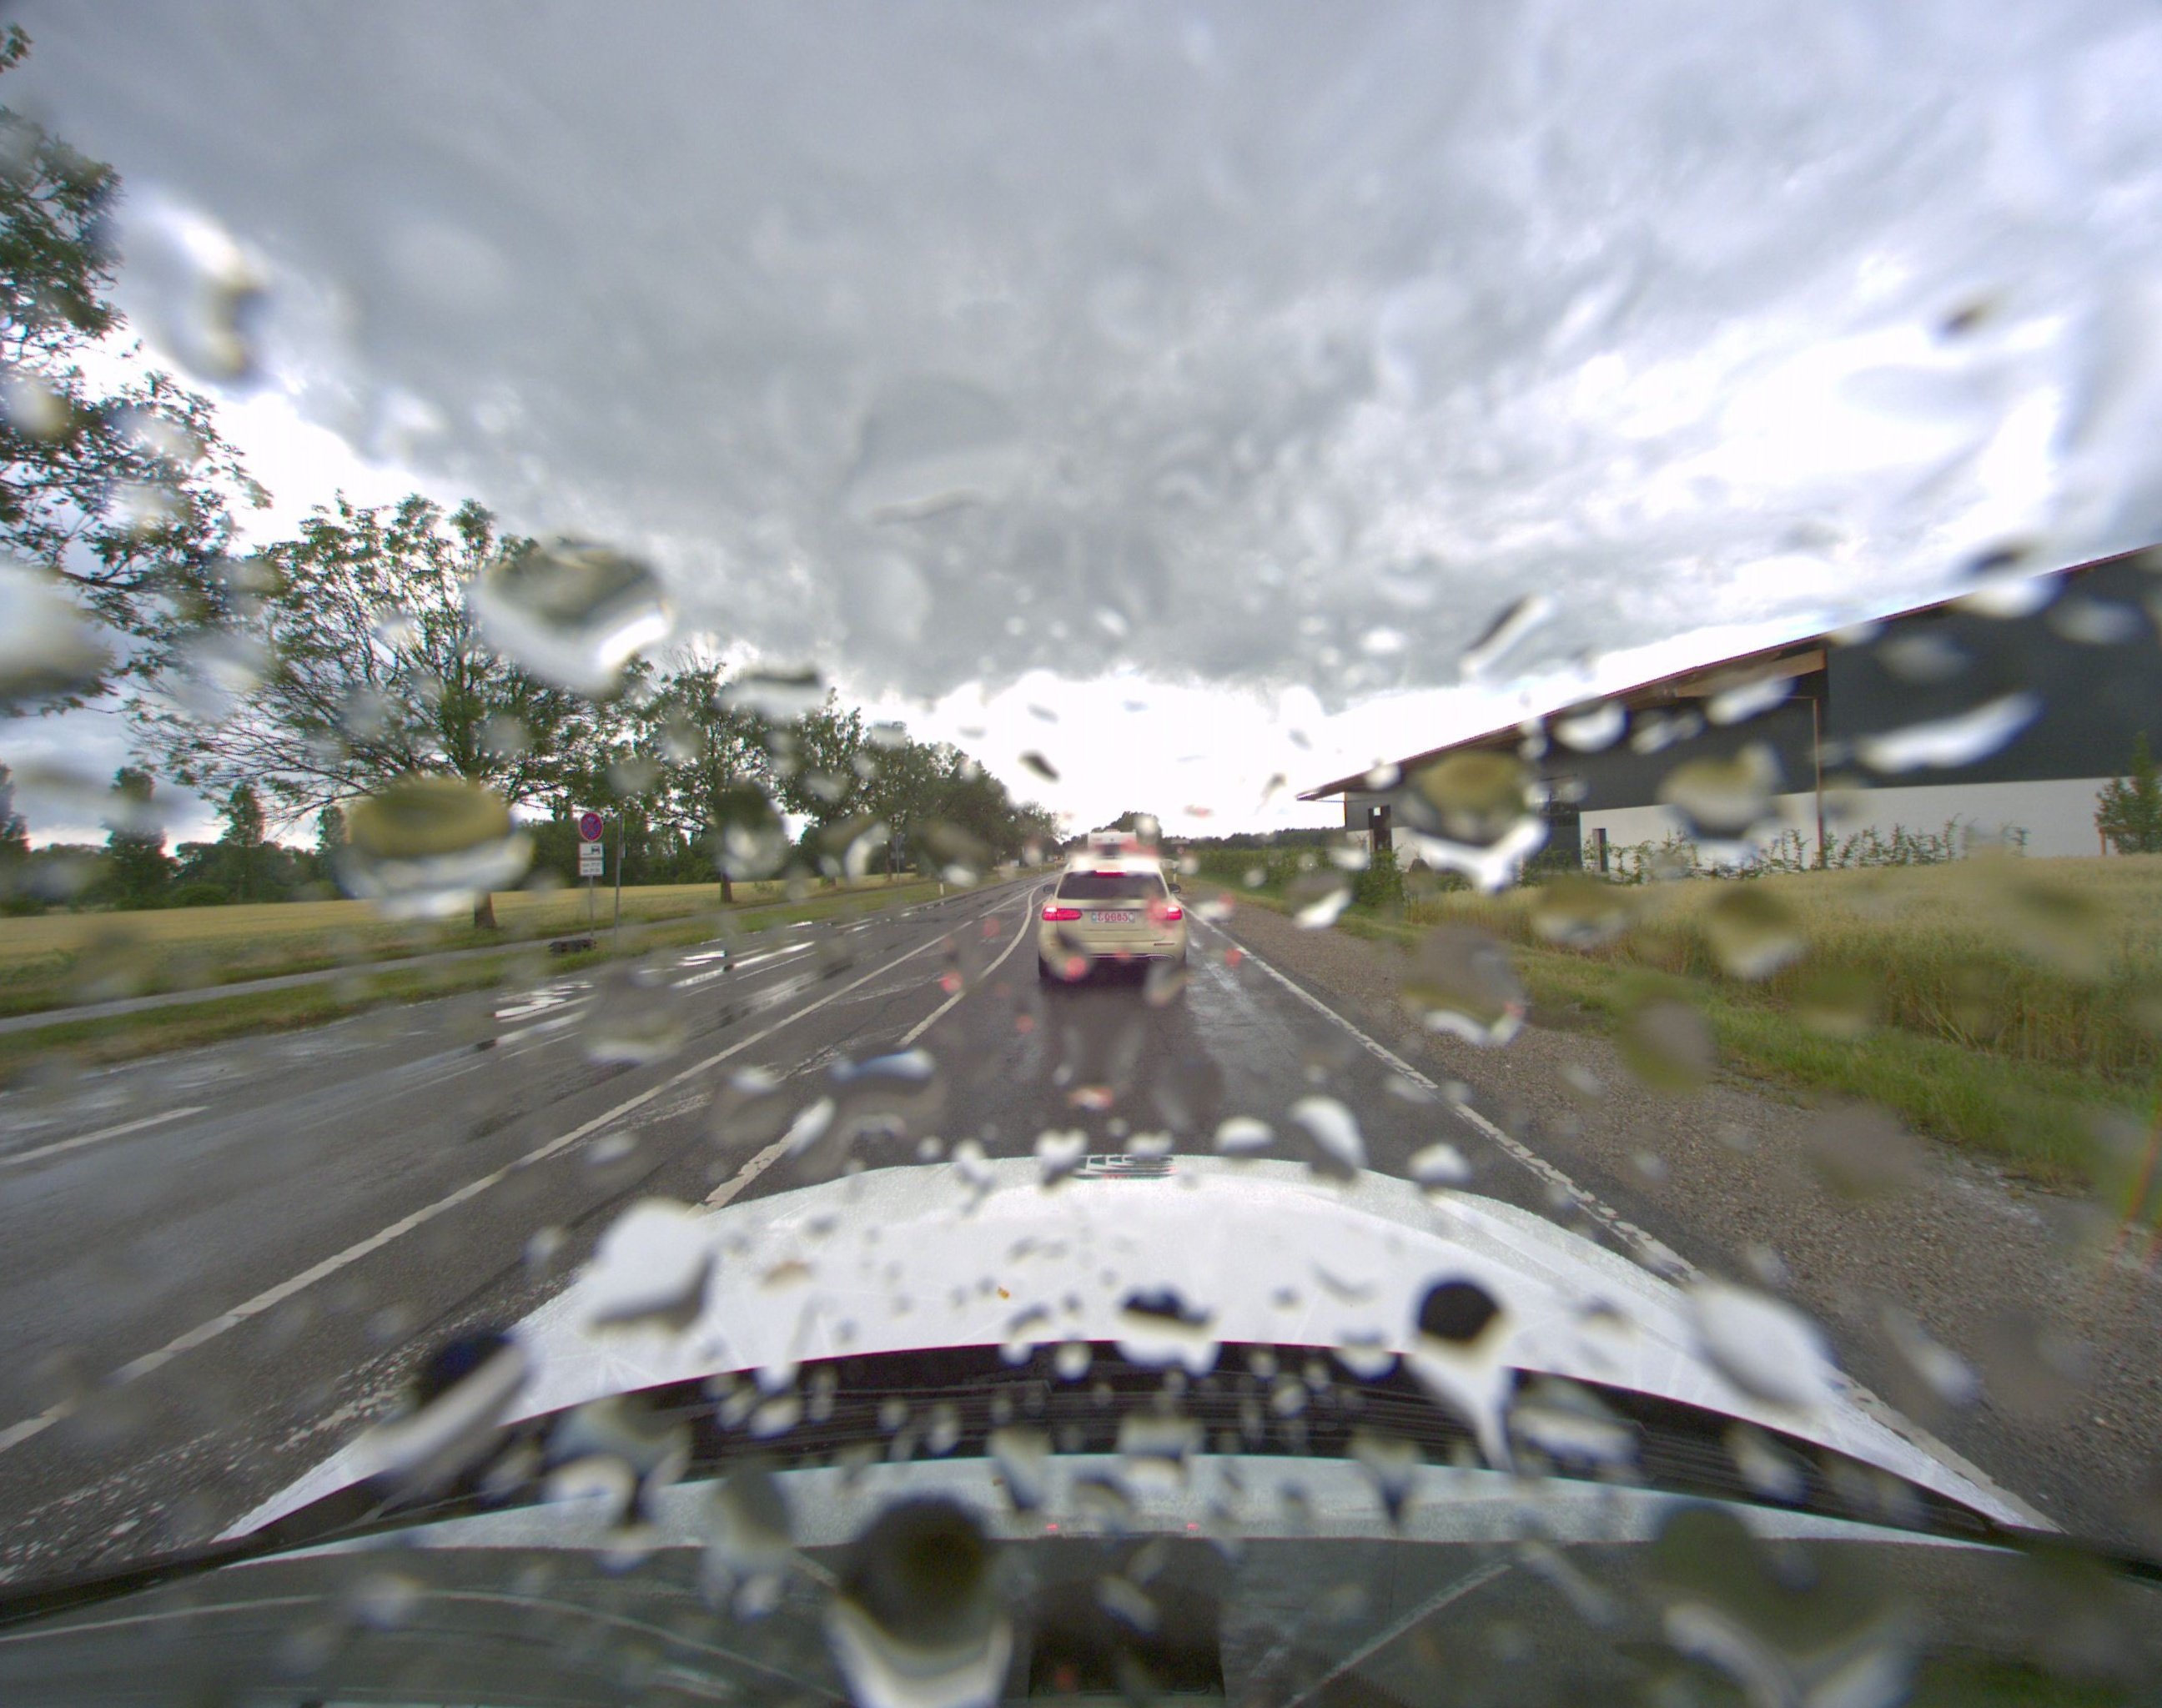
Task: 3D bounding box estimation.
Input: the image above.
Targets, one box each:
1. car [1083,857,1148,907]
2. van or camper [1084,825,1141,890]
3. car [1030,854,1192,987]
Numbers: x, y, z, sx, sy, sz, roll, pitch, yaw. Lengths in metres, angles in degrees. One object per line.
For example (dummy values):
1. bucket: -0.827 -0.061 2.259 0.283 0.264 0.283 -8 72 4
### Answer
1. car: 1.079 0.824 26.063 1.887 1.429 3.929 -1 0 2
2. van or camper: 1.599 0.169 40.247 2.487 2.831 5.938 -3 0 3
3. car: 0.423 0.754 11.190 1.790 1.464 4.033 -1 0 2
